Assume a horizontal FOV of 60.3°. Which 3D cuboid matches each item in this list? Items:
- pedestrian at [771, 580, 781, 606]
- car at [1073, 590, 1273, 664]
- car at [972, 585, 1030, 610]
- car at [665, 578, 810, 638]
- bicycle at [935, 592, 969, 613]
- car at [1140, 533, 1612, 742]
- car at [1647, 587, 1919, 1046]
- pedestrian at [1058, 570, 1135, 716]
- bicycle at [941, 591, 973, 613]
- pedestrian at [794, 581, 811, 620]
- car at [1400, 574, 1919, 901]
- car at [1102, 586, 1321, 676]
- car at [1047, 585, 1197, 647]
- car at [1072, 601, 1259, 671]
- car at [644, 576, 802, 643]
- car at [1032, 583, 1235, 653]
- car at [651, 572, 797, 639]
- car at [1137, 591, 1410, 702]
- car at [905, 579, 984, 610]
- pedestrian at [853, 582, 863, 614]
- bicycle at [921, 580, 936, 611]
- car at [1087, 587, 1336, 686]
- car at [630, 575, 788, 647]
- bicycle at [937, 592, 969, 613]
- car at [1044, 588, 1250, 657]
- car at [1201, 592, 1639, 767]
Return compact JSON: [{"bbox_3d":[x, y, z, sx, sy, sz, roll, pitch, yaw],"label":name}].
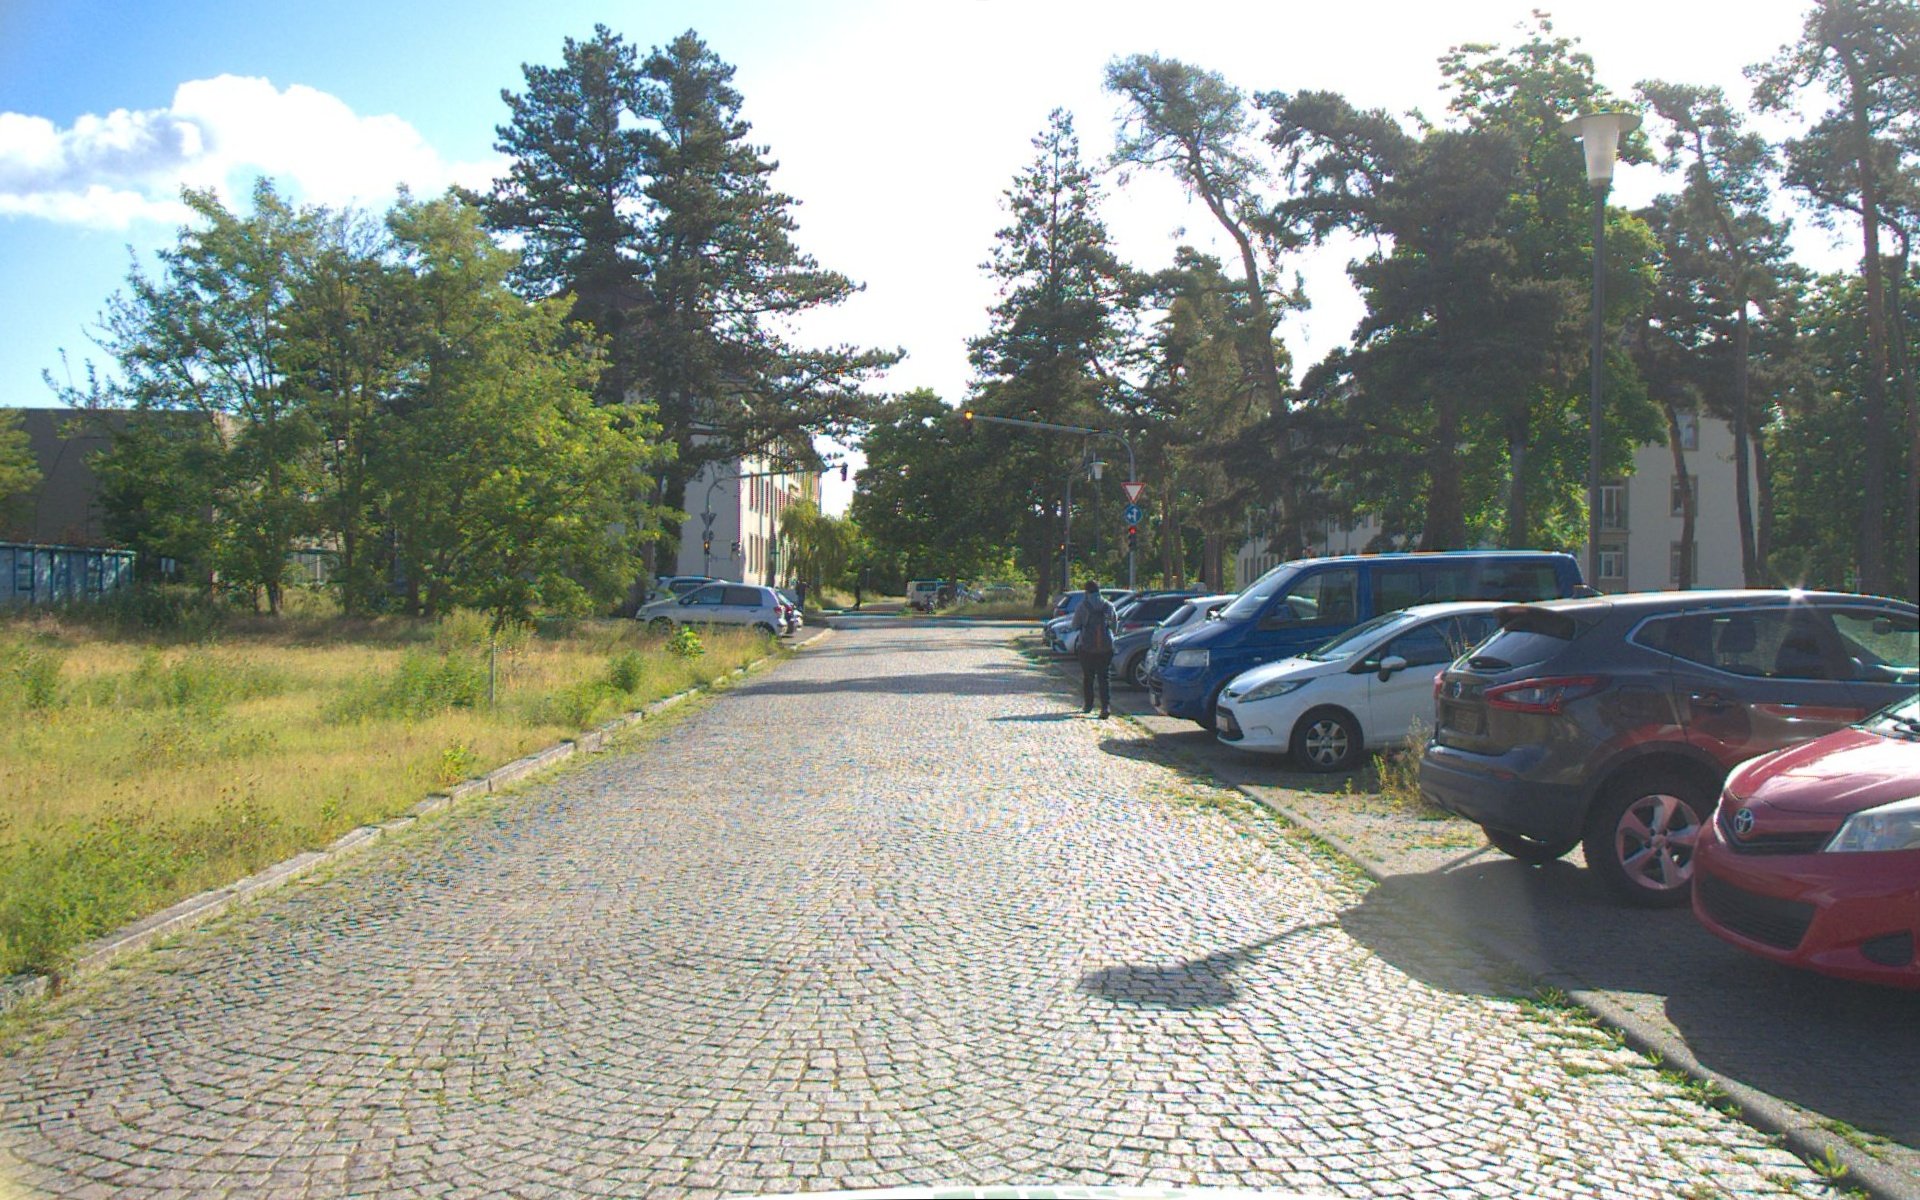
[{"bbox_3d":[-11.599,-0.443,104.347,0.595,1.587,0.544,0,0,-8],"label":"pedestrian"},{"bbox_3d":[4.358,0.533,34.242,3.899,1.474,1.655,0,0,-2],"label":"car"},{"bbox_3d":[2.777,-0.190,112.576,3.674,1.607,1.738,1,0,-9],"label":"car"},{"bbox_3d":[-6.517,0.218,48.774,3.904,1.522,1.773,3,0,3],"label":"car"},{"bbox_3d":[-0.436,0.150,90.670,1.798,1.132,0.495,0,0,-5],"label":"bicycle"},{"bbox_3d":[4.443,0.375,18.210,4.657,2.049,2.000,-1,0,-1],"label":"car"},{"bbox_3d":[4.956,0.730,6.579,3.747,1.565,1.703,0,0,-1],"label":"car"},{"bbox_3d":[1.724,0.536,21.001,0.738,1.755,0.828,5,0,-2],"label":"pedestrian"},{"bbox_3d":[-0.164,0.108,91.903,1.693,1.185,0.560,0,0,-5],"label":"bicycle"},{"bbox_3d":[-7.247,0.005,75.914,0.598,1.783,0.626,1,0,-22],"label":"pedestrian"},{"bbox_3d":[4.729,0.681,9.281,4.025,1.639,1.785,0,0,-3],"label":"car"},{"bbox_3d":[4.411,0.527,29.341,3.589,1.480,1.666,-1,0,-2],"label":"car"},{"bbox_3d":[4.061,0.391,41.833,3.599,1.468,1.665,-1,0,-2],"label":"car"},{"bbox_3d":[3.917,0.673,31.842,3.390,1.264,1.536,1,0,-1],"label":"car"},{"bbox_3d":[-6.174,0.242,43.396,3.859,1.470,1.690,4,0,-3],"label":"car"},{"bbox_3d":[4.065,0.407,39.294,4.528,1.481,1.869,-2,1,-4],"label":"car"},{"bbox_3d":[-6.532,0.156,46.030,3.802,1.643,1.660,3,0,-3],"label":"car"},{"bbox_3d":[4.400,0.639,23.575,3.571,1.518,1.634,0,0,-1],"label":"car"},{"bbox_3d":[-1.026,-0.378,108.597,4.975,1.951,1.995,0,0,-11],"label":"car"},{"bbox_3d":[-6.533,-0.154,106.302,0.582,2.049,0.572,0,0,-1],"label":"pedestrian"},{"bbox_3d":[-1.653,-0.232,87.438,0.738,1.608,2.536,1,0,-2],"label":"bicycle"},{"bbox_3d":[3.949,0.550,26.375,3.703,1.476,1.758,-1,0,0],"label":"car"},{"bbox_3d":[-6.136,0.268,40.730,3.613,1.554,1.698,3,0,-4],"label":"car"},{"bbox_3d":[-0.381,0.147,91.217,1.693,1.132,0.483,0,0,-5],"label":"bicycle"},{"bbox_3d":[4.096,0.477,36.654,4.311,1.413,1.788,-1,0,-3],"label":"car"},{"bbox_3d":[4.245,0.700,15.579,3.646,1.492,1.609,-1,0,-4],"label":"car"}]
